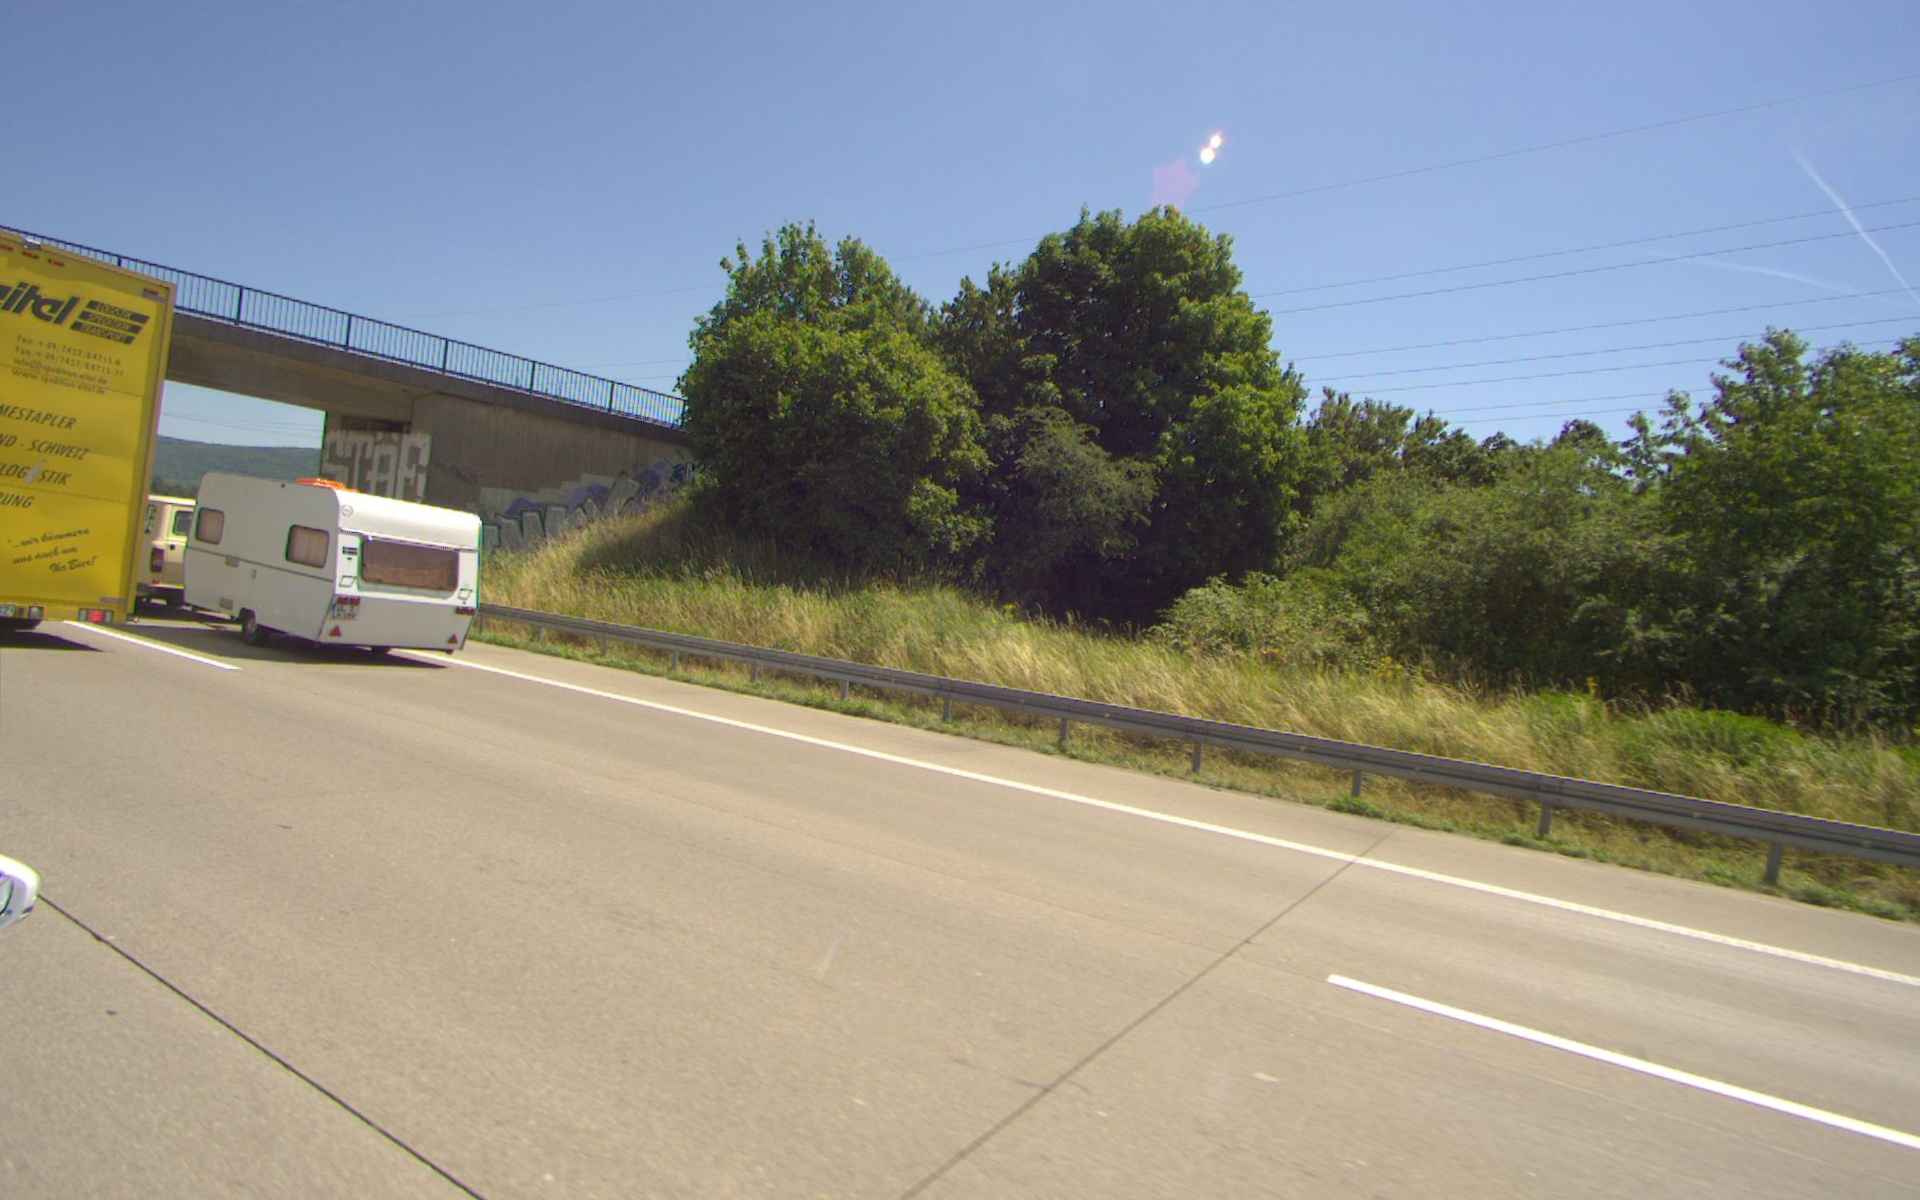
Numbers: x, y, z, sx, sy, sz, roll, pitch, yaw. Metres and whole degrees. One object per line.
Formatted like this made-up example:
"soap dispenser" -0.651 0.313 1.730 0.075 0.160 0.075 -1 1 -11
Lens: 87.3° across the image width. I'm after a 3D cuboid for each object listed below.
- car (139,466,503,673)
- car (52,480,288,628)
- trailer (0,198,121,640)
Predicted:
"car" -9.457 -0.502 14.742 5.424 2.374 2.138 6 -2 32
"car" -13.424 -0.797 17.068 3.756 2.037 1.787 6 -2 32
"trailer" -16.058 -2.506 13.679 14.946 4.304 1.997 6 -1 31
